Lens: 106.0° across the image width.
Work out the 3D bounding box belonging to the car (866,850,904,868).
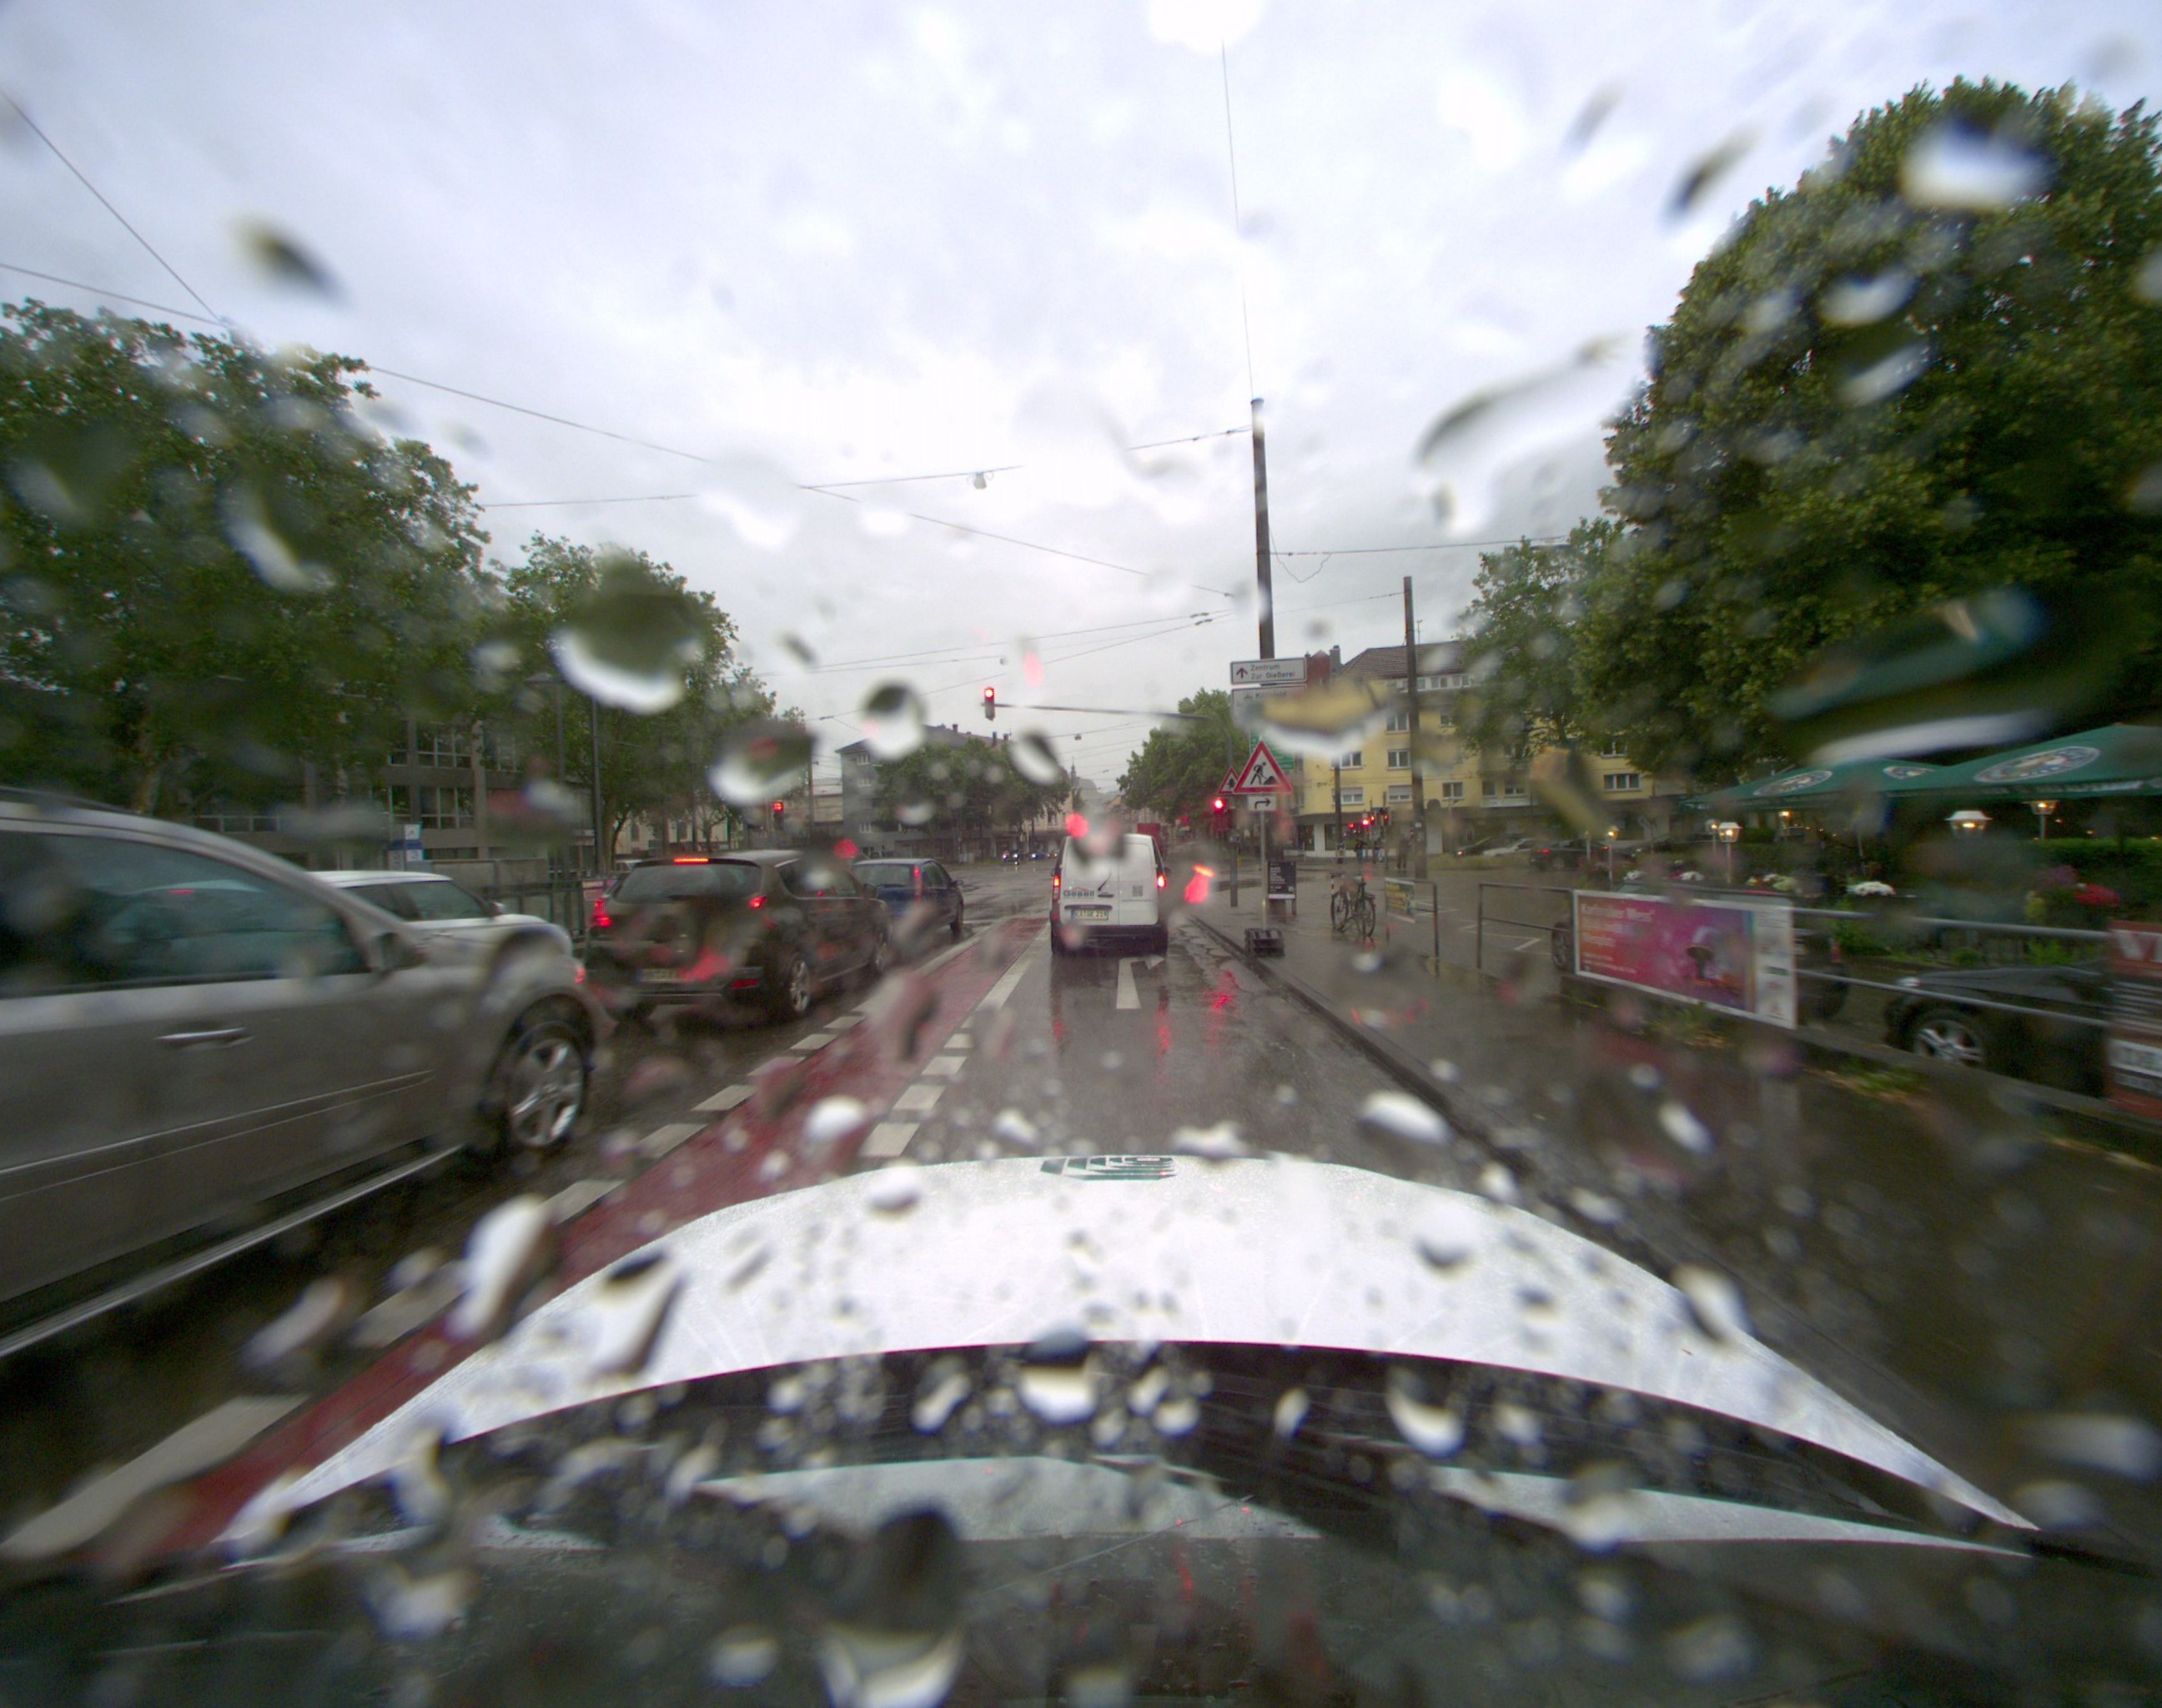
[{"bbox_3d":[-22.345,0.564,93.147,1.974,2.013,4.025,-1,0,29],"label":"car"}]

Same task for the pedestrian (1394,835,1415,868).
[{"bbox_3d":[16.840,-0.137,42.351,0.896,1.669,1.026,-1,0,29],"label":"pedestrian"}]

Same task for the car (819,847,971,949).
[{"bbox_3d":[-3.181,0.691,14.700,1.720,1.578,3.823,-1,0,2],"label":"car"}]

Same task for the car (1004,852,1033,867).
[{"bbox_3d":[-7.424,0.636,97.161,1.935,1.607,4.020,-1,1,19],"label":"car"}]

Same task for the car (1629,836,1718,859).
[{"bbox_3d":[29.855,-0.318,41.115,3.510,1.082,1.248,-1,0,5],"label":"car"}]

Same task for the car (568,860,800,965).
[{"bbox_3d":[-6.546,0.881,13.994,1.836,1.484,4.003,-1,0,3],"label":"car"}]

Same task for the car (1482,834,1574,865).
[{"bbox_3d":[23.142,-0.234,42.280,3.906,1.490,1.815,-1,1,18],"label":"car"}]

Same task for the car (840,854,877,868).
[{"bbox_3d":[-26.349,0.787,96.350,1.935,1.496,4.025,1,2,29],"label":"car"}]

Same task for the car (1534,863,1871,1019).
[{"bbox_3d":[7.464,0.925,10.279,1.698,1.442,3.529,2,1,4],"label":"car"}]

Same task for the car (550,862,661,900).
[{"bbox_3d":[-18.098,0.989,31.165,1.582,1.314,3.539,-1,0,16],"label":"car"}]

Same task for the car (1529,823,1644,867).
[{"bbox_3d":[22.663,-0.379,36.685,3.961,1.866,2.006,-1,0,11],"label":"car"}]

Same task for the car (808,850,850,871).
[{"bbox_3d":[-29.706,0.745,96.196,1.975,2.198,4.816,0,2,26],"label":"car"}]

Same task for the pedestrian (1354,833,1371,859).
[{"bbox_3d":[17.337,-0.492,50.101,0.820,1.534,0.616,0,0,-36],"label":"pedestrian"}]

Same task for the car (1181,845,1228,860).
[{"bbox_3d":[11.541,-0.140,76.225,4.160,1.338,1.518,-1,1,-5],"label":"car"}]

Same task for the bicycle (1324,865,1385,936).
[{"bbox_3d":[4.813,0.785,14.445,0.512,1.107,2.019,2,1,4],"label":"bicycle"}]

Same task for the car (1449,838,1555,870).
[{"bbox_3d":[23.479,0.021,45.596,4.901,1.643,2.007,-1,-2,14],"label":"car"}]

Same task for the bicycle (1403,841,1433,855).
[{"bbox_3d":[24.704,-0.449,59.717,2.003,1.027,0.662,-1,0,14],"label":"bicycle"}]

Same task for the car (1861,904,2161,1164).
[{"bbox_3d":[7.241,1.128,4.742,1.696,1.400,3.975,-1,0,2],"label":"car"}]

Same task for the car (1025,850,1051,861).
[{"bbox_3d":[-5.449,0.164,103.541,1.935,1.239,4.020,-1,2,19],"label":"car"}]

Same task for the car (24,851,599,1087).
[{"bbox_3d":[-6.583,0.809,7.677,1.638,1.629,3.839,-2,0,2],"label":"car"}]

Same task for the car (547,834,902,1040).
[{"bbox_3d":[-3.381,0.677,8.749,1.827,1.668,4.175,-1,0,2],"label":"car"}]

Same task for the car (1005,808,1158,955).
[{"bbox_3d":[0.105,0.391,13.801,2.092,2.012,4.966,-1,0,2],"label":"car"}]

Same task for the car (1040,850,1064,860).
[{"bbox_3d":[-3.925,0.121,111.289,1.935,1.239,4.020,-1,2,19],"label":"car"}]

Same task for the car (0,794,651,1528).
[{"bbox_3d":[-3.607,0.749,2.574,2.017,1.770,4.464,-1,0,1],"label":"car"}]

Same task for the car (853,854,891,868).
[{"bbox_3d":[-24.364,0.795,94.936,1.974,1.530,4.025,-1,2,29],"label":"car"}]

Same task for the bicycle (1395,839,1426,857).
[{"bbox_3d":[25.109,-0.455,62.068,2.085,1.261,0.534,-1,1,16],"label":"bicycle"}]

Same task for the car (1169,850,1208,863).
[{"bbox_3d":[10.298,0.243,78.157,3.437,1.130,1.469,-1,0,-6],"label":"car"}]

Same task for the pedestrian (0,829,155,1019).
[{"bbox_3d":[-10.068,0.655,8.000,0.763,1.746,0.899,-4,1,1],"label":"pedestrian"}]

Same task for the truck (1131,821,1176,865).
[{"bbox_3d":[9.380,-1.303,102.853,3.445,5.087,15.363,-1,0,13],"label":"truck"}]

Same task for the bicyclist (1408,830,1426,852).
[{"bbox_3d":[24.649,-0.932,59.733,1.058,1.547,0.940,-1,0,13],"label":"bicyclist"}]
